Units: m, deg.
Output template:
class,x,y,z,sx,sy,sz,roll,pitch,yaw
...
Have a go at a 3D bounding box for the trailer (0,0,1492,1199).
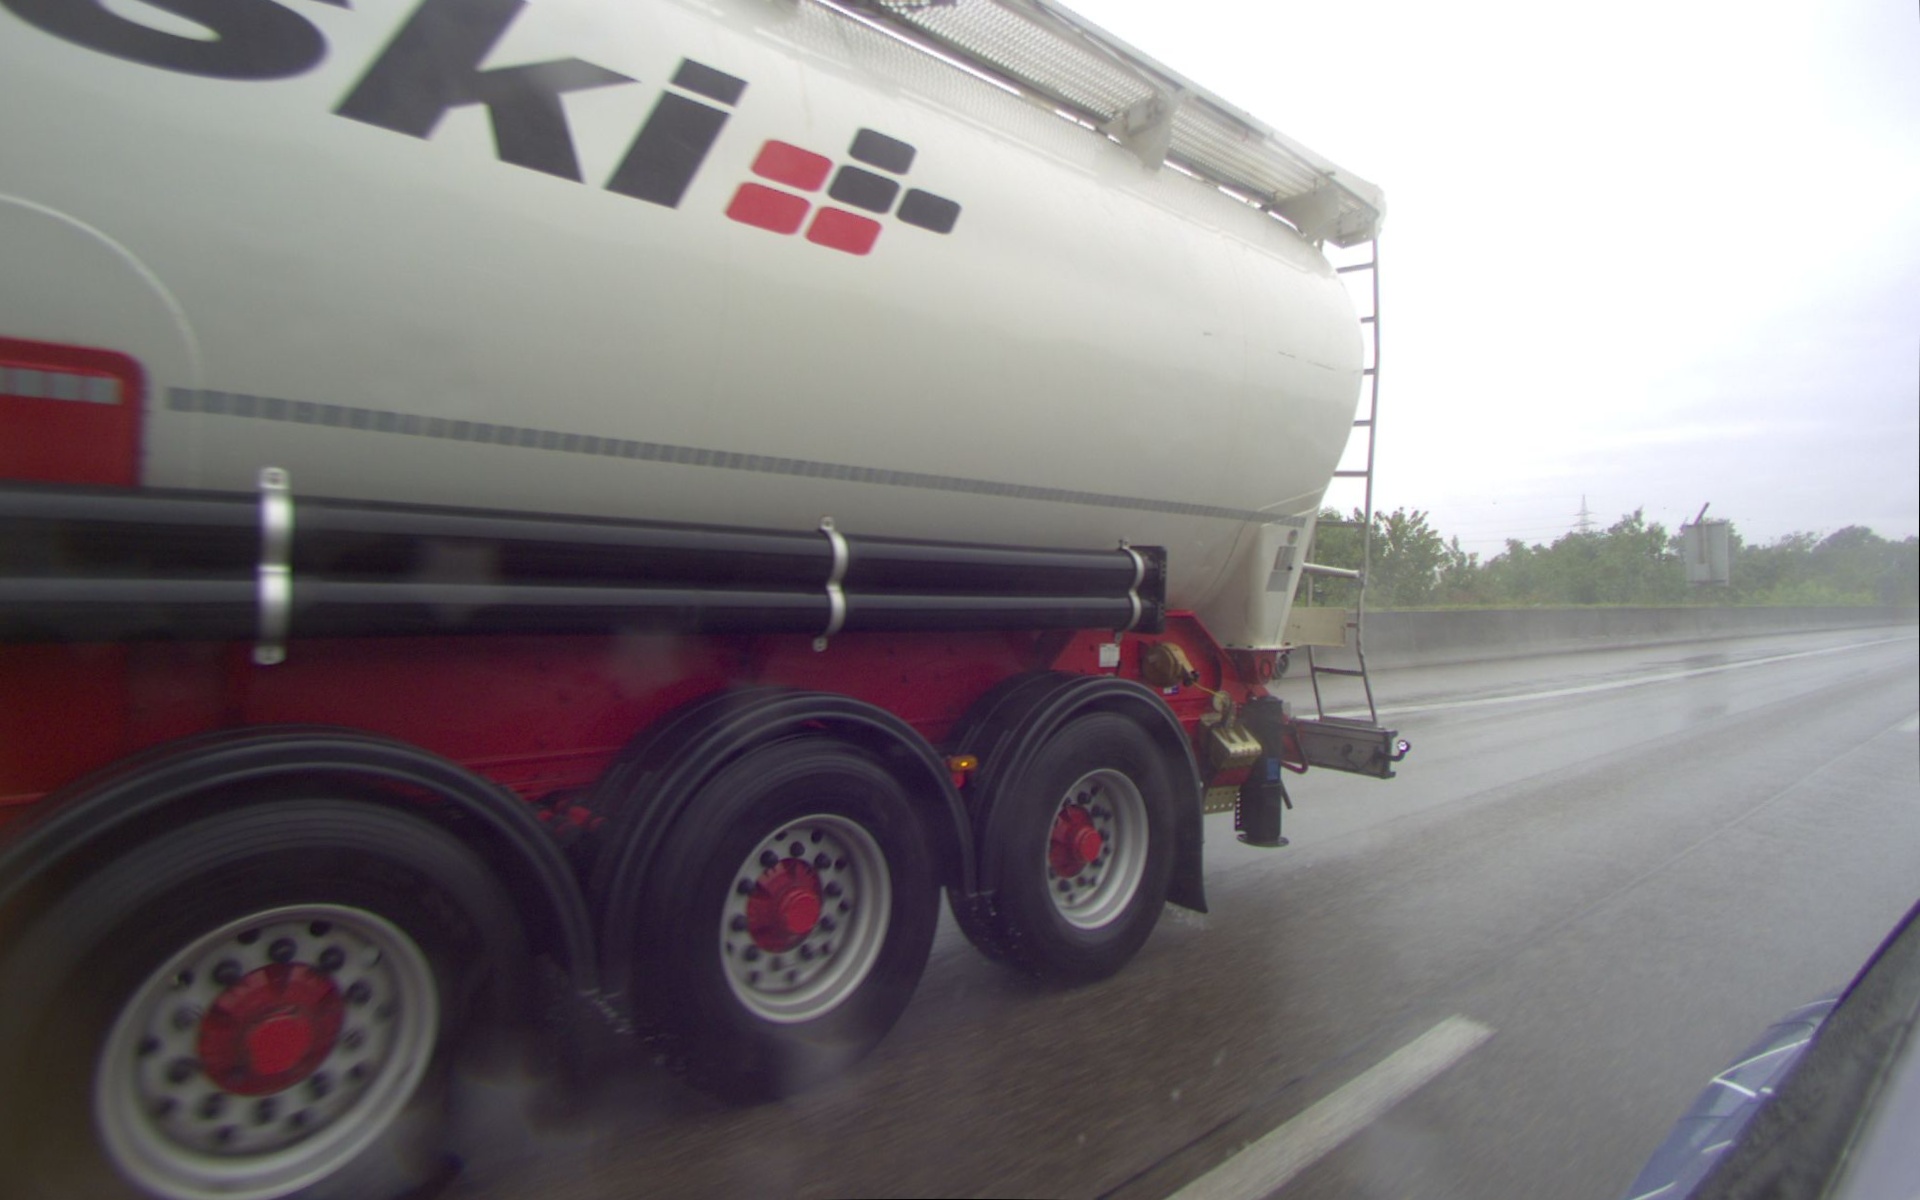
class,x,y,z,sx,sy,sz,roll,pitch,yaw
trailer,-2.428,-0.572,3.023,11.462,3.716,3.194,0,0,-41
